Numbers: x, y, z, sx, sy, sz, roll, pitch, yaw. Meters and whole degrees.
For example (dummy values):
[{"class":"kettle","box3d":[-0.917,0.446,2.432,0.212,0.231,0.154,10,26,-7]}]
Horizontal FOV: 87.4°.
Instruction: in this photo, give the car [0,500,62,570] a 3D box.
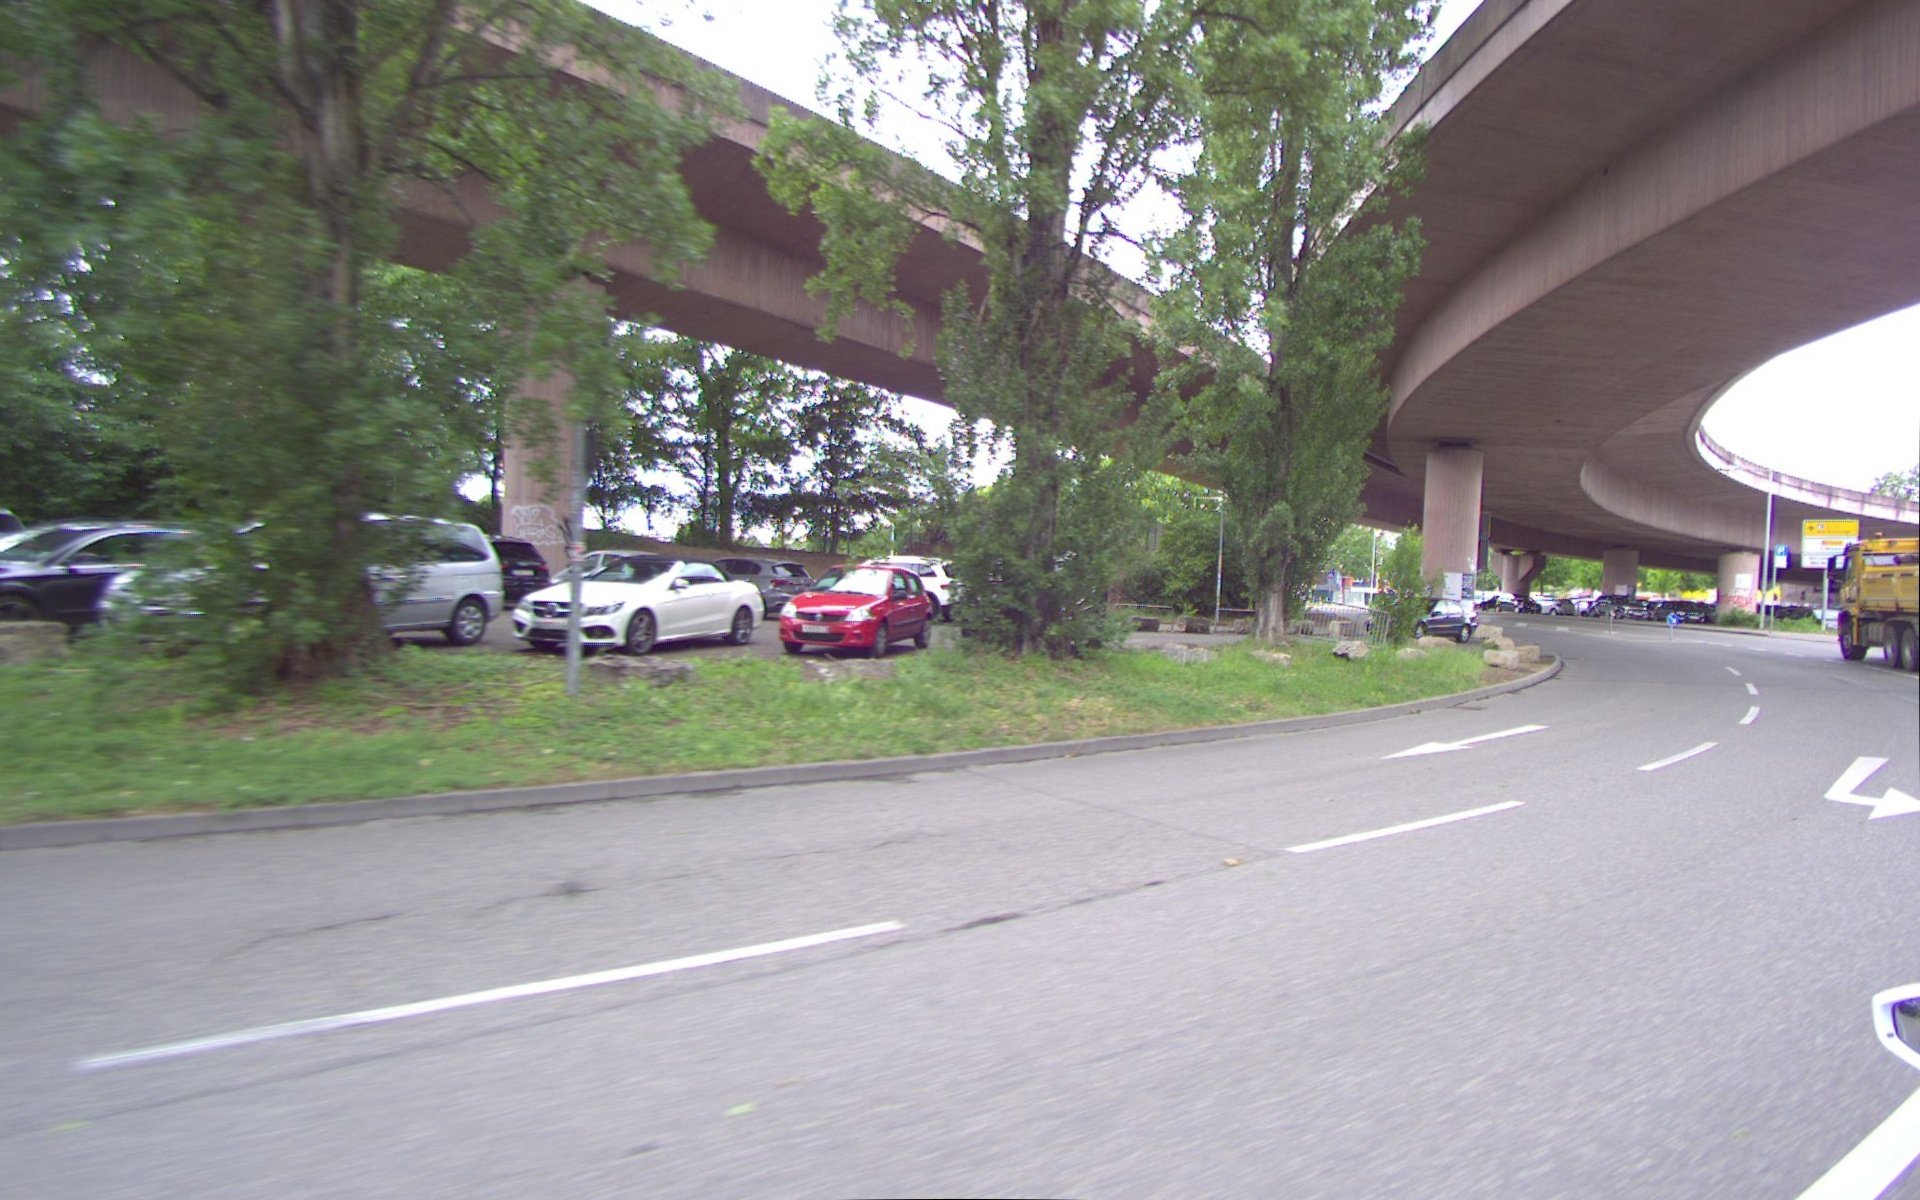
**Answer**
[{"class":"car","box3d":[-18.894,-1.260,19.048,2.917,1.251,1.398,2,0,15]}]

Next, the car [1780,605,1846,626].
[{"class":"car","box3d":[71.393,1.275,84.097,1.729,1.498,3.848,2,1,-16]}]

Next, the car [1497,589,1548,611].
[{"class":"car","box3d":[40.143,-0.010,71.807,1.580,1.416,3.579,4,1,0]}]

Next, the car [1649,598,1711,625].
[{"class":"car","box3d":[45.539,0.743,63.603,1.755,1.526,3.861,3,0,13]}]

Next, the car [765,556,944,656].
[{"class":"car","box3d":[-1.588,0.087,16.408,1.534,1.398,3.706,2,0,17]}]

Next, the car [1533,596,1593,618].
[{"class":"car","box3d":[46.641,0.502,77.724,1.611,1.573,4.000,2,1,-13]}]

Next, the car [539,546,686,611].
[{"class":"car","box3d":[-8.357,-0.521,24.094,3.361,1.407,1.373,2,0,28]}]

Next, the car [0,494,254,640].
[{"class":"car","box3d":[-10.791,-0.345,11.945,1.662,1.556,3.630,2,-1,15]}]

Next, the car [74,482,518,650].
[{"class":"car","box3d":[-7.927,-0.338,12.665,1.662,1.696,4.679,2,0,15]}]

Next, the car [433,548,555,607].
[{"class":"car","box3d":[-10.742,-0.529,23.095,2.930,1.251,1.314,3,0,37]}]

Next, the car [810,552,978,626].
[{"class":"car","box3d":[-1.719,-0.293,26.324,3.983,1.730,1.736,2,0,19]}]

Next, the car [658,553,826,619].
[{"class":"car","box3d":[-5.477,-0.348,25.257,3.794,1.484,1.742,2,0,22]}]

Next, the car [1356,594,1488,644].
[{"class":"car","box3d":[15.286,0.624,33.133,4.728,1.450,1.809,1,3,-36]}]

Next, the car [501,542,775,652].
[{"class":"car","box3d":[-4.647,-0.033,15.311,1.662,1.382,4.517,2,0,17]}]

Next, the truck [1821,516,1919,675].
[{"class":"truck","box3d":[25.596,-0.134,26.516,2.717,3.748,7.867,0,0,28]}]

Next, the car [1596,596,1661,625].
[{"class":"car","box3d":[40.392,0.625,60.752,1.580,1.554,3.410,4,1,0]}]
